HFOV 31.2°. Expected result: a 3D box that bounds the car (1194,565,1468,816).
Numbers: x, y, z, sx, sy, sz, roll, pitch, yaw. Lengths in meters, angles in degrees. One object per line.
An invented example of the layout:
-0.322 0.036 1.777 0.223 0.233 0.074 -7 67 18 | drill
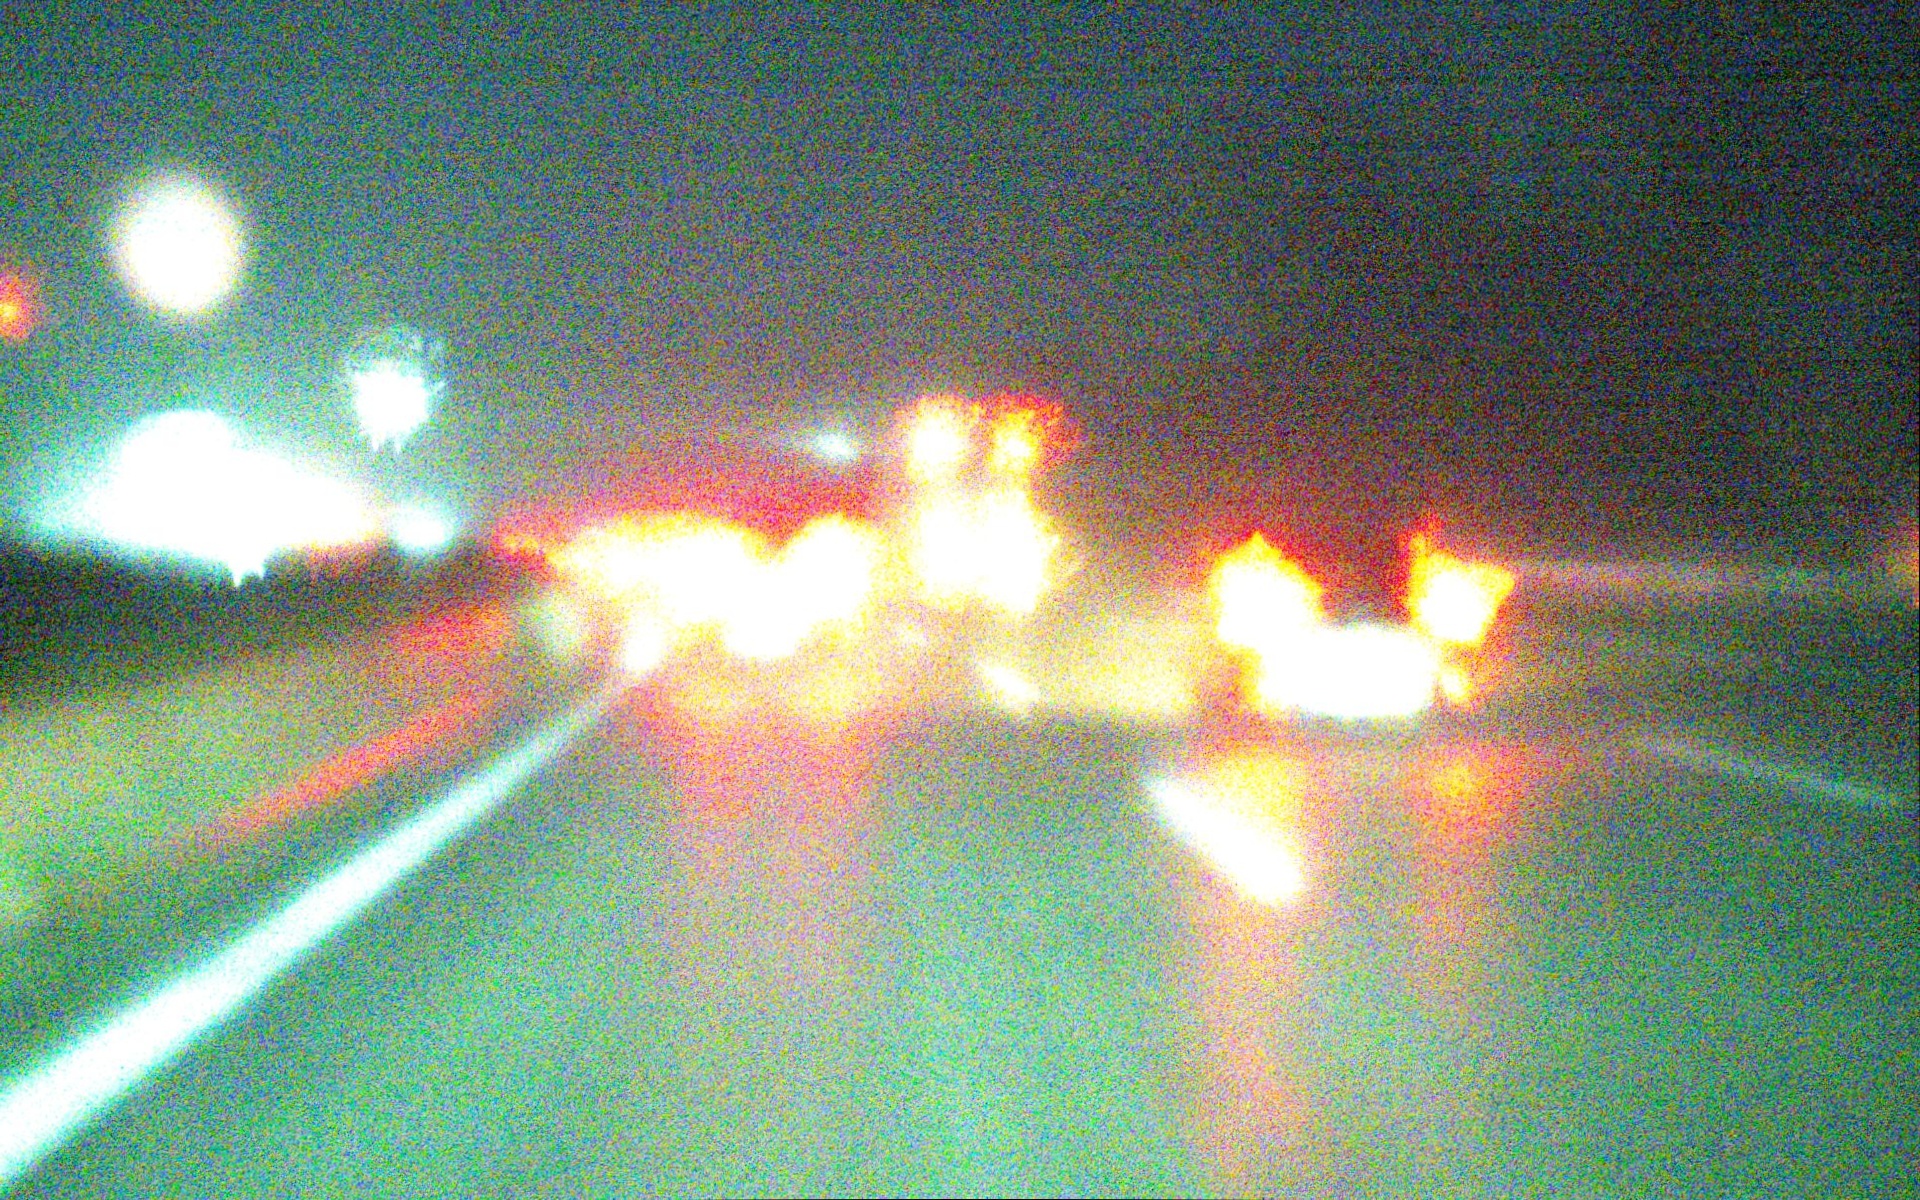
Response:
2.645 0.584 24.969 1.801 1.612 4.256 0 1 5 | car

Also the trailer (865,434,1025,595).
-0.593 -2.667 100.874 2.738 4.233 13.377 -3 3 -8 | trailer

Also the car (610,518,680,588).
-9.790 -1.457 107.138 1.993 2.007 4.000 -3 0 -4 | car

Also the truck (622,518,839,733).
-2.707 0.193 39.215 2.144 2.070 6.605 3 2 -6 | truck

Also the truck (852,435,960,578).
-1.715 -2.956 107.020 2.710 4.226 5.295 -1 4 -8 | truck
